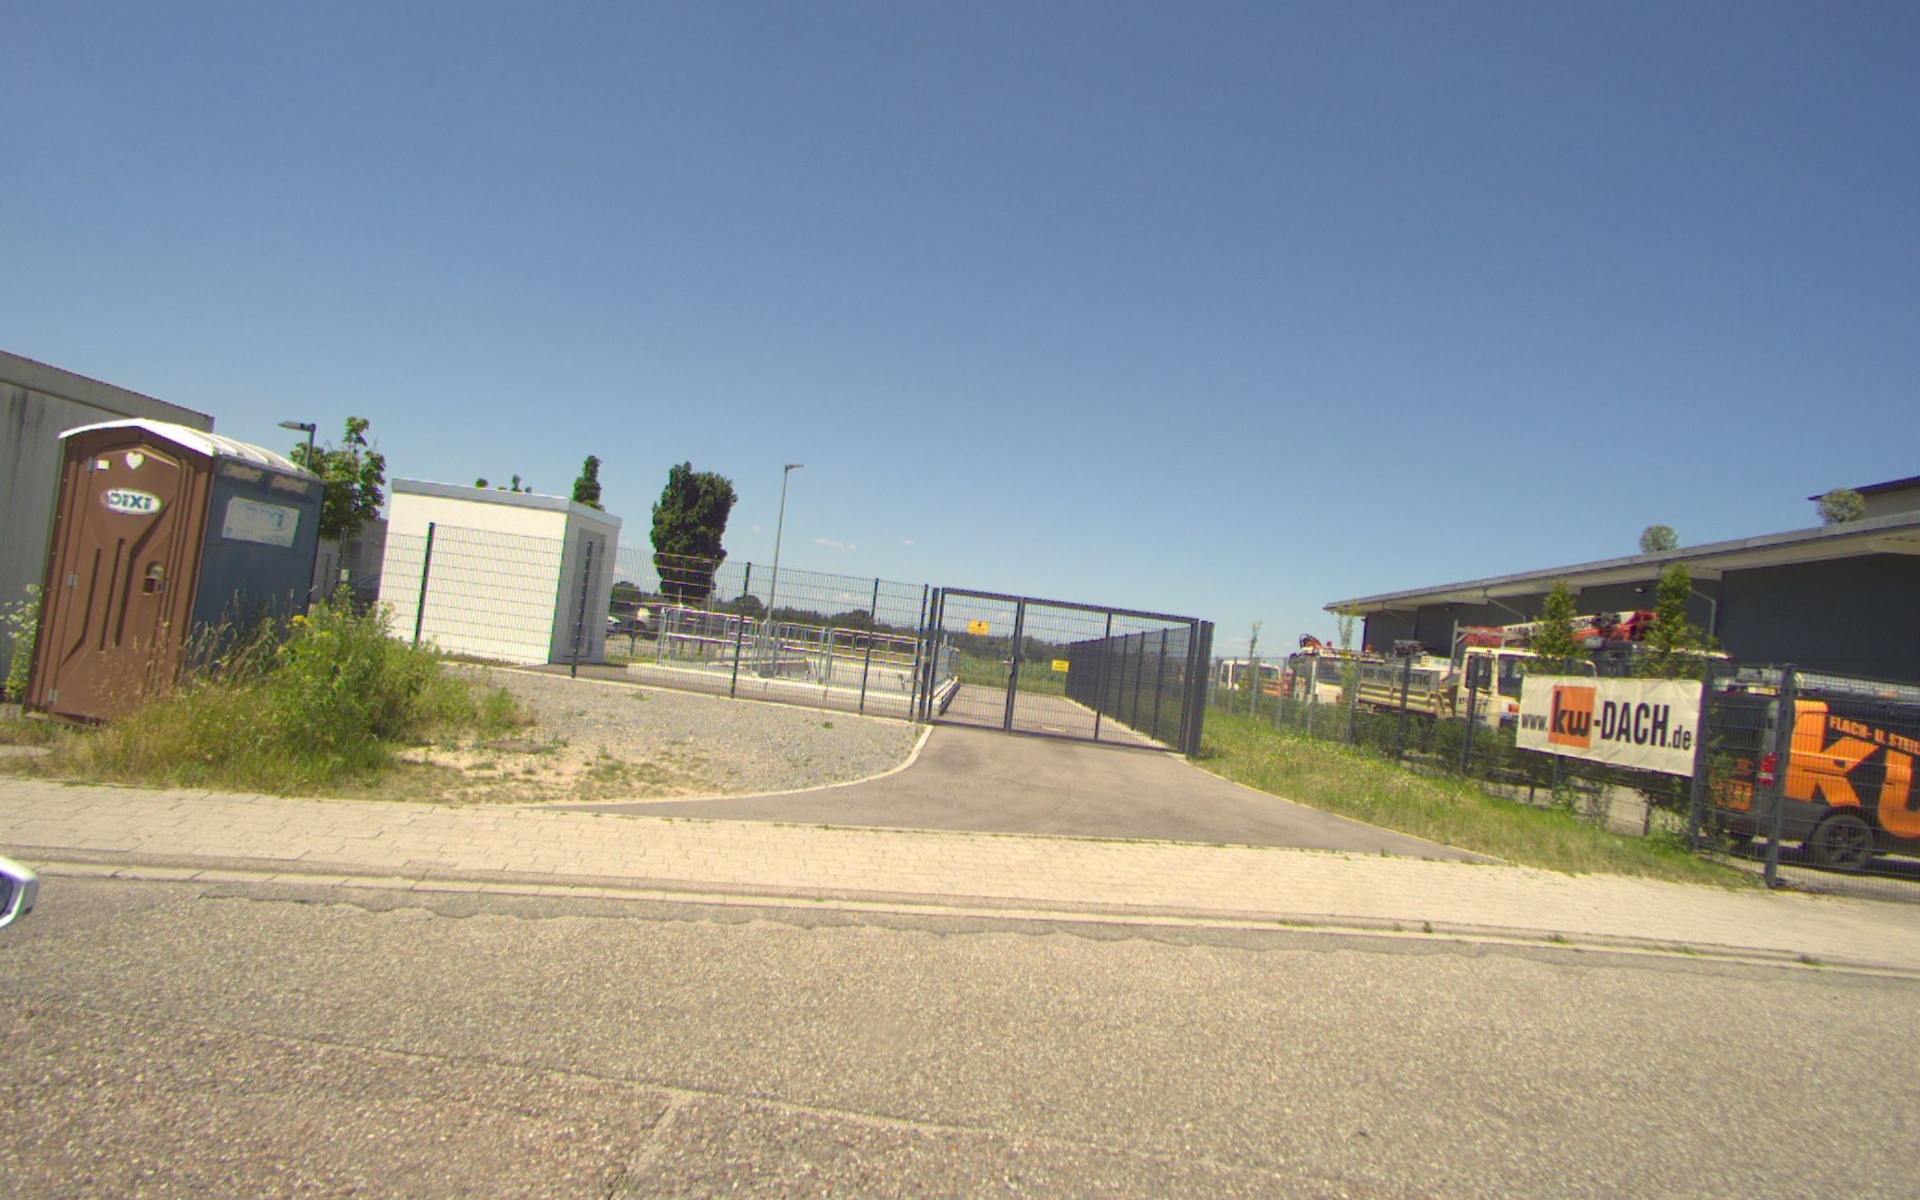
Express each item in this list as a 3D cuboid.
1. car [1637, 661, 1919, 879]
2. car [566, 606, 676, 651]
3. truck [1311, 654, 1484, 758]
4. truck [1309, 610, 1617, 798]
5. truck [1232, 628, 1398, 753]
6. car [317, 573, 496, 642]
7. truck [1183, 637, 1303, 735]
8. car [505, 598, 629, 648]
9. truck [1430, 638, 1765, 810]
[{"bbox_3d":[11.208,2.116,12.088,4.690,2.185,1.924,7,-3,1],"label":"car"},{"bbox_3d":[-14.421,1.255,42.962,3.924,1.522,1.863,5,-3,1],"label":"car"},{"bbox_3d":[15.589,3.731,36.682,2.639,3.054,8.375,6,-4,2],"label":"truck"},{"bbox_3d":[10.442,2.153,22.164,2.576,3.054,8.375,6,-4,2],"label":"truck"},{"bbox_3d":[10.392,2.667,30.298,2.449,3.054,7.044,6,-4,2],"label":"truck"},{"bbox_3d":[-15.568,0.247,28.450,3.924,1.522,1.863,5,-3,1],"label":"car"},{"bbox_3d":[10.397,3.180,37.670,2.449,3.054,7.044,6,-4,2],"label":"truck"},{"bbox_3d":[-15.111,0.903,38.804,3.924,1.522,1.863,5,-3,1],"label":"car"},{"bbox_3d":[15.142,2.865,25.071,2.639,3.210,8.989,6,-4,2],"label":"truck"}]
